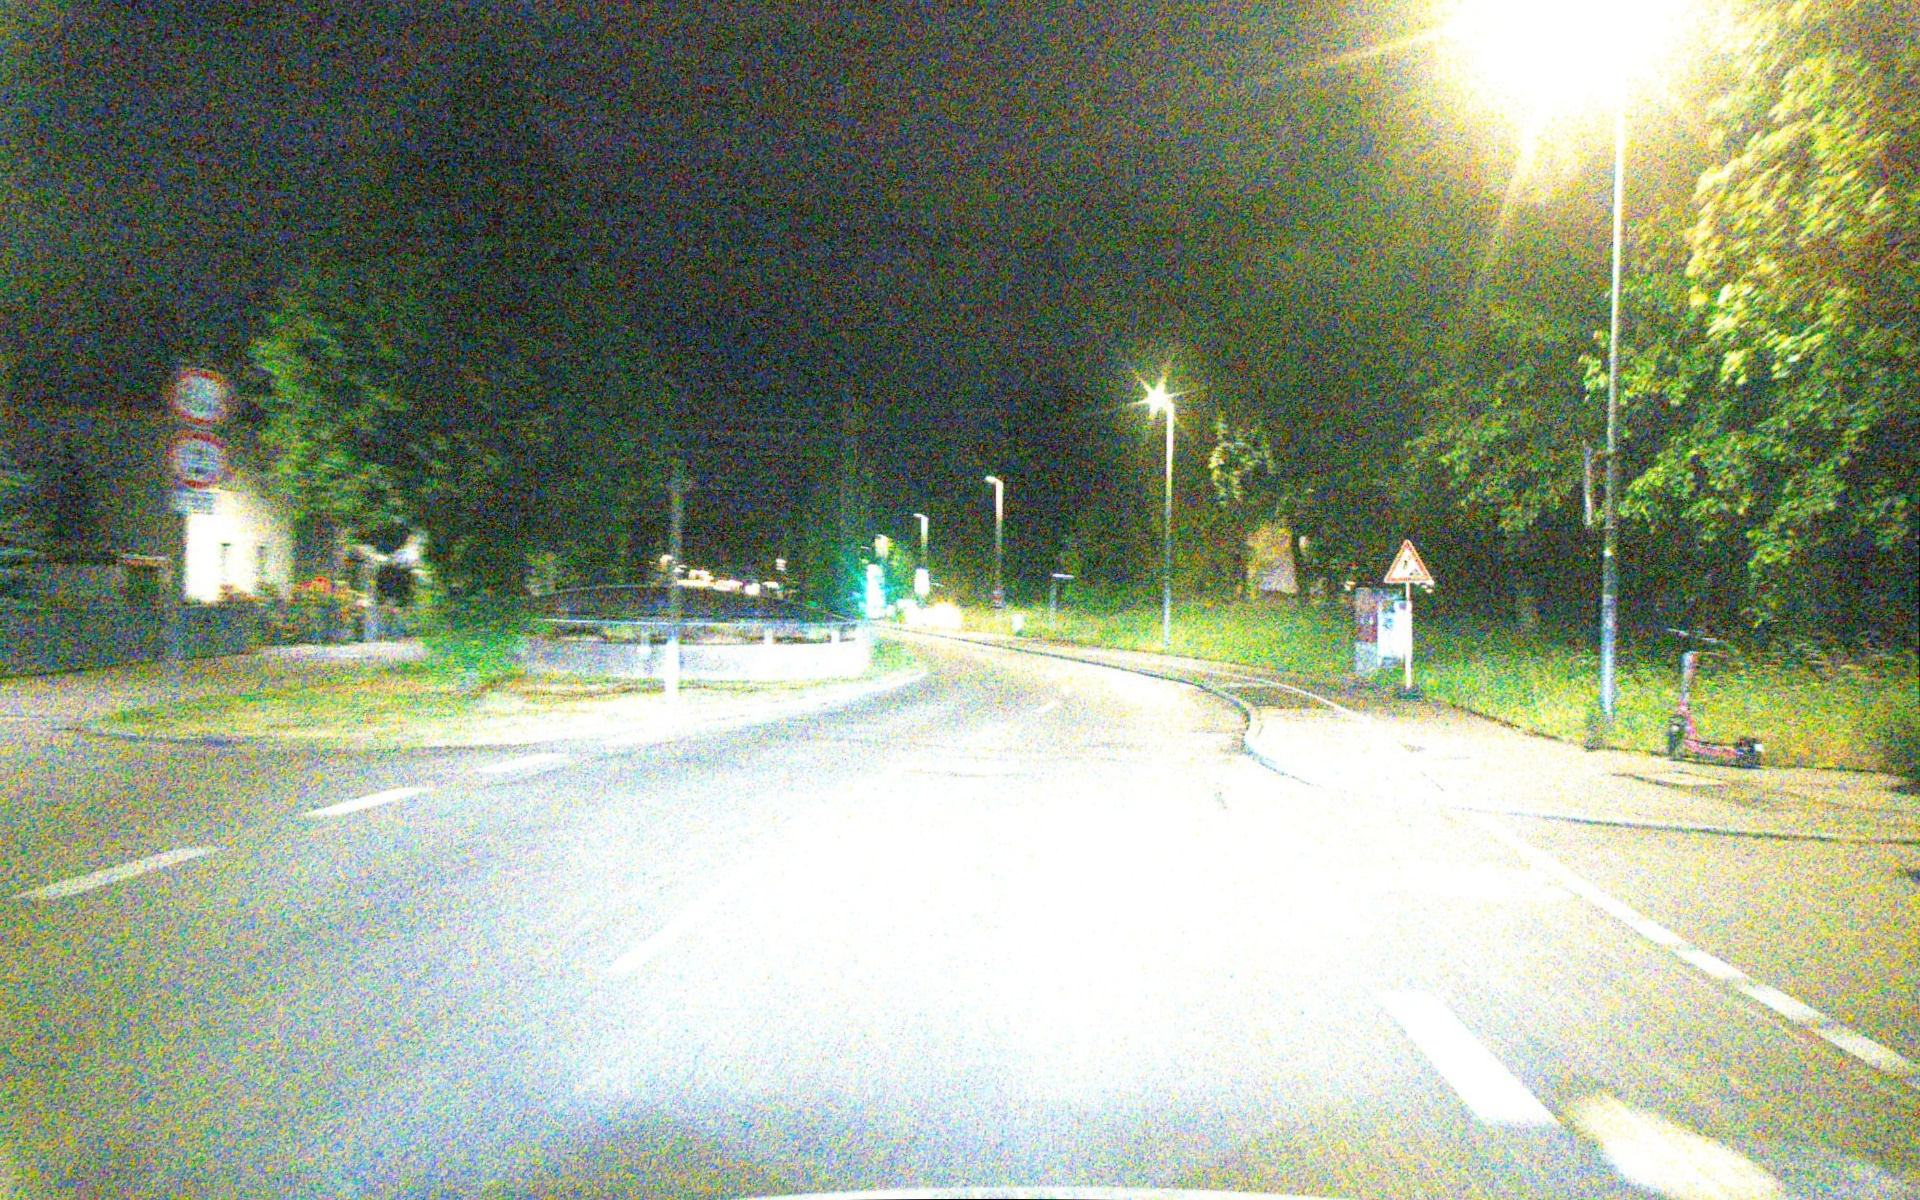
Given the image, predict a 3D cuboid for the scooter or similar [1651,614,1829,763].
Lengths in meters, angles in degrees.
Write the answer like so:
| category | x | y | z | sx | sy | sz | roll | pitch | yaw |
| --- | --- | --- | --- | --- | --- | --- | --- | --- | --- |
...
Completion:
| category | x | y | z | sx | sy | sz | roll | pitch | yaw |
| --- | --- | --- | --- | --- | --- | --- | --- | --- | --- |
| scooter or similar | 7.366 | 0.806 | 15.697 | 0.601 | 1.303 | 1.685 | 2 | 0 | -12 |
